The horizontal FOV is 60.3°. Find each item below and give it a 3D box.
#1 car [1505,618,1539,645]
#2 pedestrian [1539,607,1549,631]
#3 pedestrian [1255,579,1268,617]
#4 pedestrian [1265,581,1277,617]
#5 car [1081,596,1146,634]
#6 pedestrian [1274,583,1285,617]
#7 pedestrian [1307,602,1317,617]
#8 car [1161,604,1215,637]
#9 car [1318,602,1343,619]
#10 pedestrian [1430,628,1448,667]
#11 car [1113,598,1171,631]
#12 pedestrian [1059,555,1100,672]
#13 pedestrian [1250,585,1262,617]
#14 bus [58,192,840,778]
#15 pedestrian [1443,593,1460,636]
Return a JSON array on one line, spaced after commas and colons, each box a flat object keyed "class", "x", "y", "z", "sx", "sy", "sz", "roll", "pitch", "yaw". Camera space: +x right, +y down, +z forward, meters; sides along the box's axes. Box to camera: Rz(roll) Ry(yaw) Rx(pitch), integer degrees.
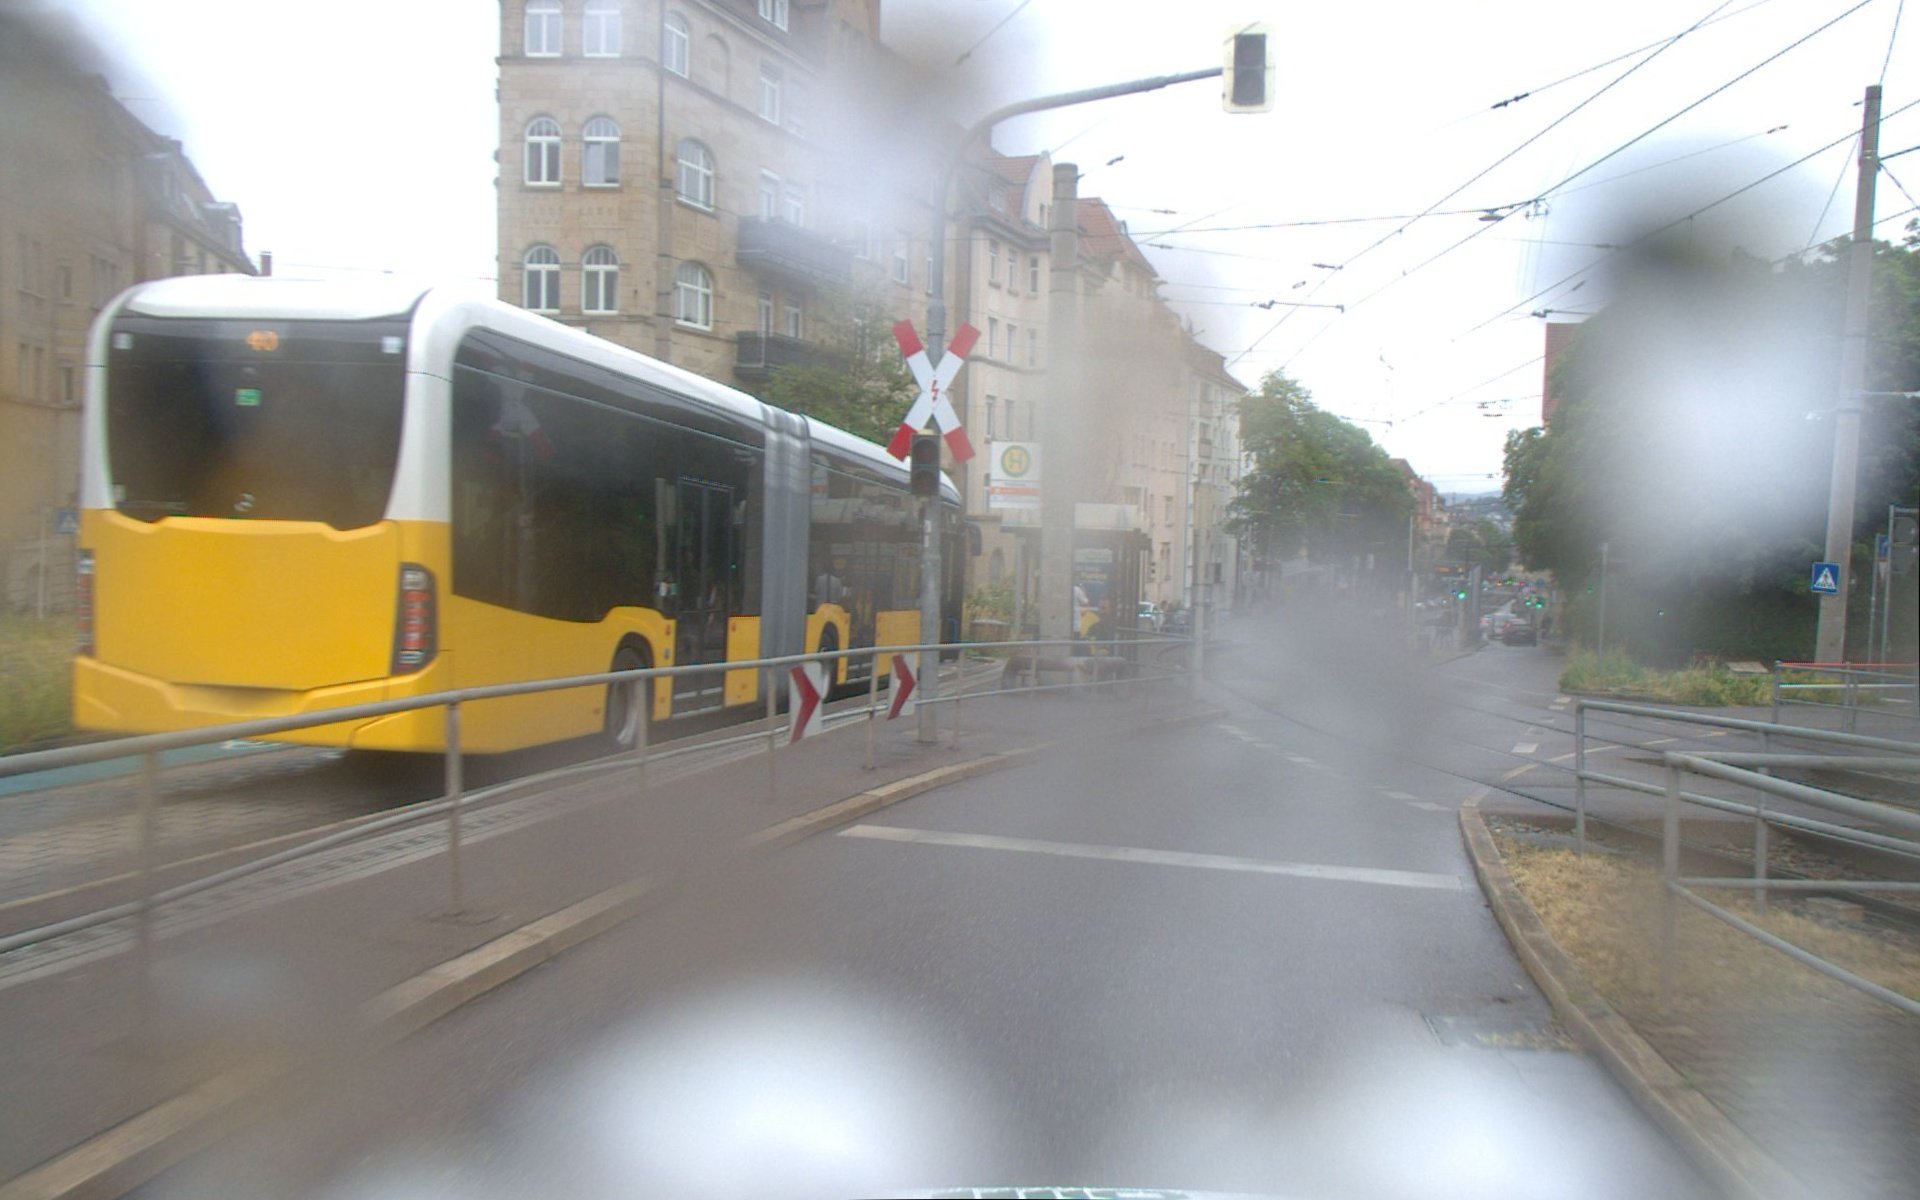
[{"class": "car", "x": 33.713, "y": 1.857, "z": 99.257, "sx": 1.813, "sy": 1.499, "sz": 4.002, "roll": 1, "pitch": 0, "yaw": 18}, {"class": "pedestrian", "x": 43.109, "y": 1.416, "z": 122.049, "sx": 0.681, "sy": 1.724, "sz": 0.555, "roll": 1, "pitch": 0, "yaw": 20}, {"class": "pedestrian", "x": 15.227, "y": -0.093, "z": 83.522, "sx": 0.549, "sy": 1.882, "sz": 0.599, "roll": 0, "pitch": -1, "yaw": 19}, {"class": "pedestrian", "x": 16.599, "y": -0.050, "z": 88.210, "sx": 0.505, "sy": 1.870, "sz": 0.762, "roll": 0, "pitch": -1, "yaw": 19}, {"class": "car", "x": 7.399, "y": 0.740, "z": 79.284, "sx": 1.953, "sy": 1.559, "sz": 4.533, "roll": 4, "pitch": -1, "yaw": 20}, {"class": "pedestrian", "x": 17.710, "y": 0.005, "z": 91.573, "sx": 0.505, "sy": 1.870, "sz": 0.762, "roll": 0, "pitch": -1, "yaw": 19}, {"class": "pedestrian", "x": 21.581, "y": 0.568, "z": 101.436, "sx": 0.538, "sy": 0.887, "sz": 0.614, "roll": 0, "pitch": -1, "yaw": 19}, {"class": "car", "x": 12.835, "y": 1.184, "z": 92.941, "sx": 1.953, "sy": 1.762, "sz": 4.813, "roll": 0, "pitch": -1, "yaw": 22}, {"class": "car", "x": 35.592, "y": 1.006, "z": 158.880, "sx": 1.690, "sy": 1.542, "sz": 4.496, "roll": 1, "pitch": 1, "yaw": 20}, {"class": "pedestrian", "x": 19.693, "y": 1.945, "z": 68.053, "sx": 0.637, "sy": 1.589, "sz": 0.684, "roll": 1, "pitch": 0, "yaw": 20}, {"class": "car", "x": 9.357, "y": 0.714, "z": 84.566, "sx": 1.883, "sy": 1.651, "sz": 4.535, "roll": 0, "pitch": 0, "yaw": 21}, {"class": "pedestrian", "x": 1.858, "y": 0.206, "z": 25.735, "sx": 0.564, "sy": 1.783, "sz": 0.544, "roll": 1, "pitch": -1, "yaw": 8}, {"class": "pedestrian", "x": 15.081, "y": 0.042, "z": 84.183, "sx": 0.505, "sy": 1.633, "sz": 0.563, "roll": 0, "pitch": -1, "yaw": 19}, {"class": "bus", "x": -3.532, "y": -0.671, "z": 14.673, "sx": 2.535, "sy": 3.530, "sz": 9.115, "roll": 1, "pitch": 0, "yaw": 11}, {"class": "pedestrian", "x": 21.385, "y": 0.626, "z": 71.913, "sx": 0.637, "sy": 1.815, "sz": 0.848, "roll": 1, "pitch": 0, "yaw": 20}]
